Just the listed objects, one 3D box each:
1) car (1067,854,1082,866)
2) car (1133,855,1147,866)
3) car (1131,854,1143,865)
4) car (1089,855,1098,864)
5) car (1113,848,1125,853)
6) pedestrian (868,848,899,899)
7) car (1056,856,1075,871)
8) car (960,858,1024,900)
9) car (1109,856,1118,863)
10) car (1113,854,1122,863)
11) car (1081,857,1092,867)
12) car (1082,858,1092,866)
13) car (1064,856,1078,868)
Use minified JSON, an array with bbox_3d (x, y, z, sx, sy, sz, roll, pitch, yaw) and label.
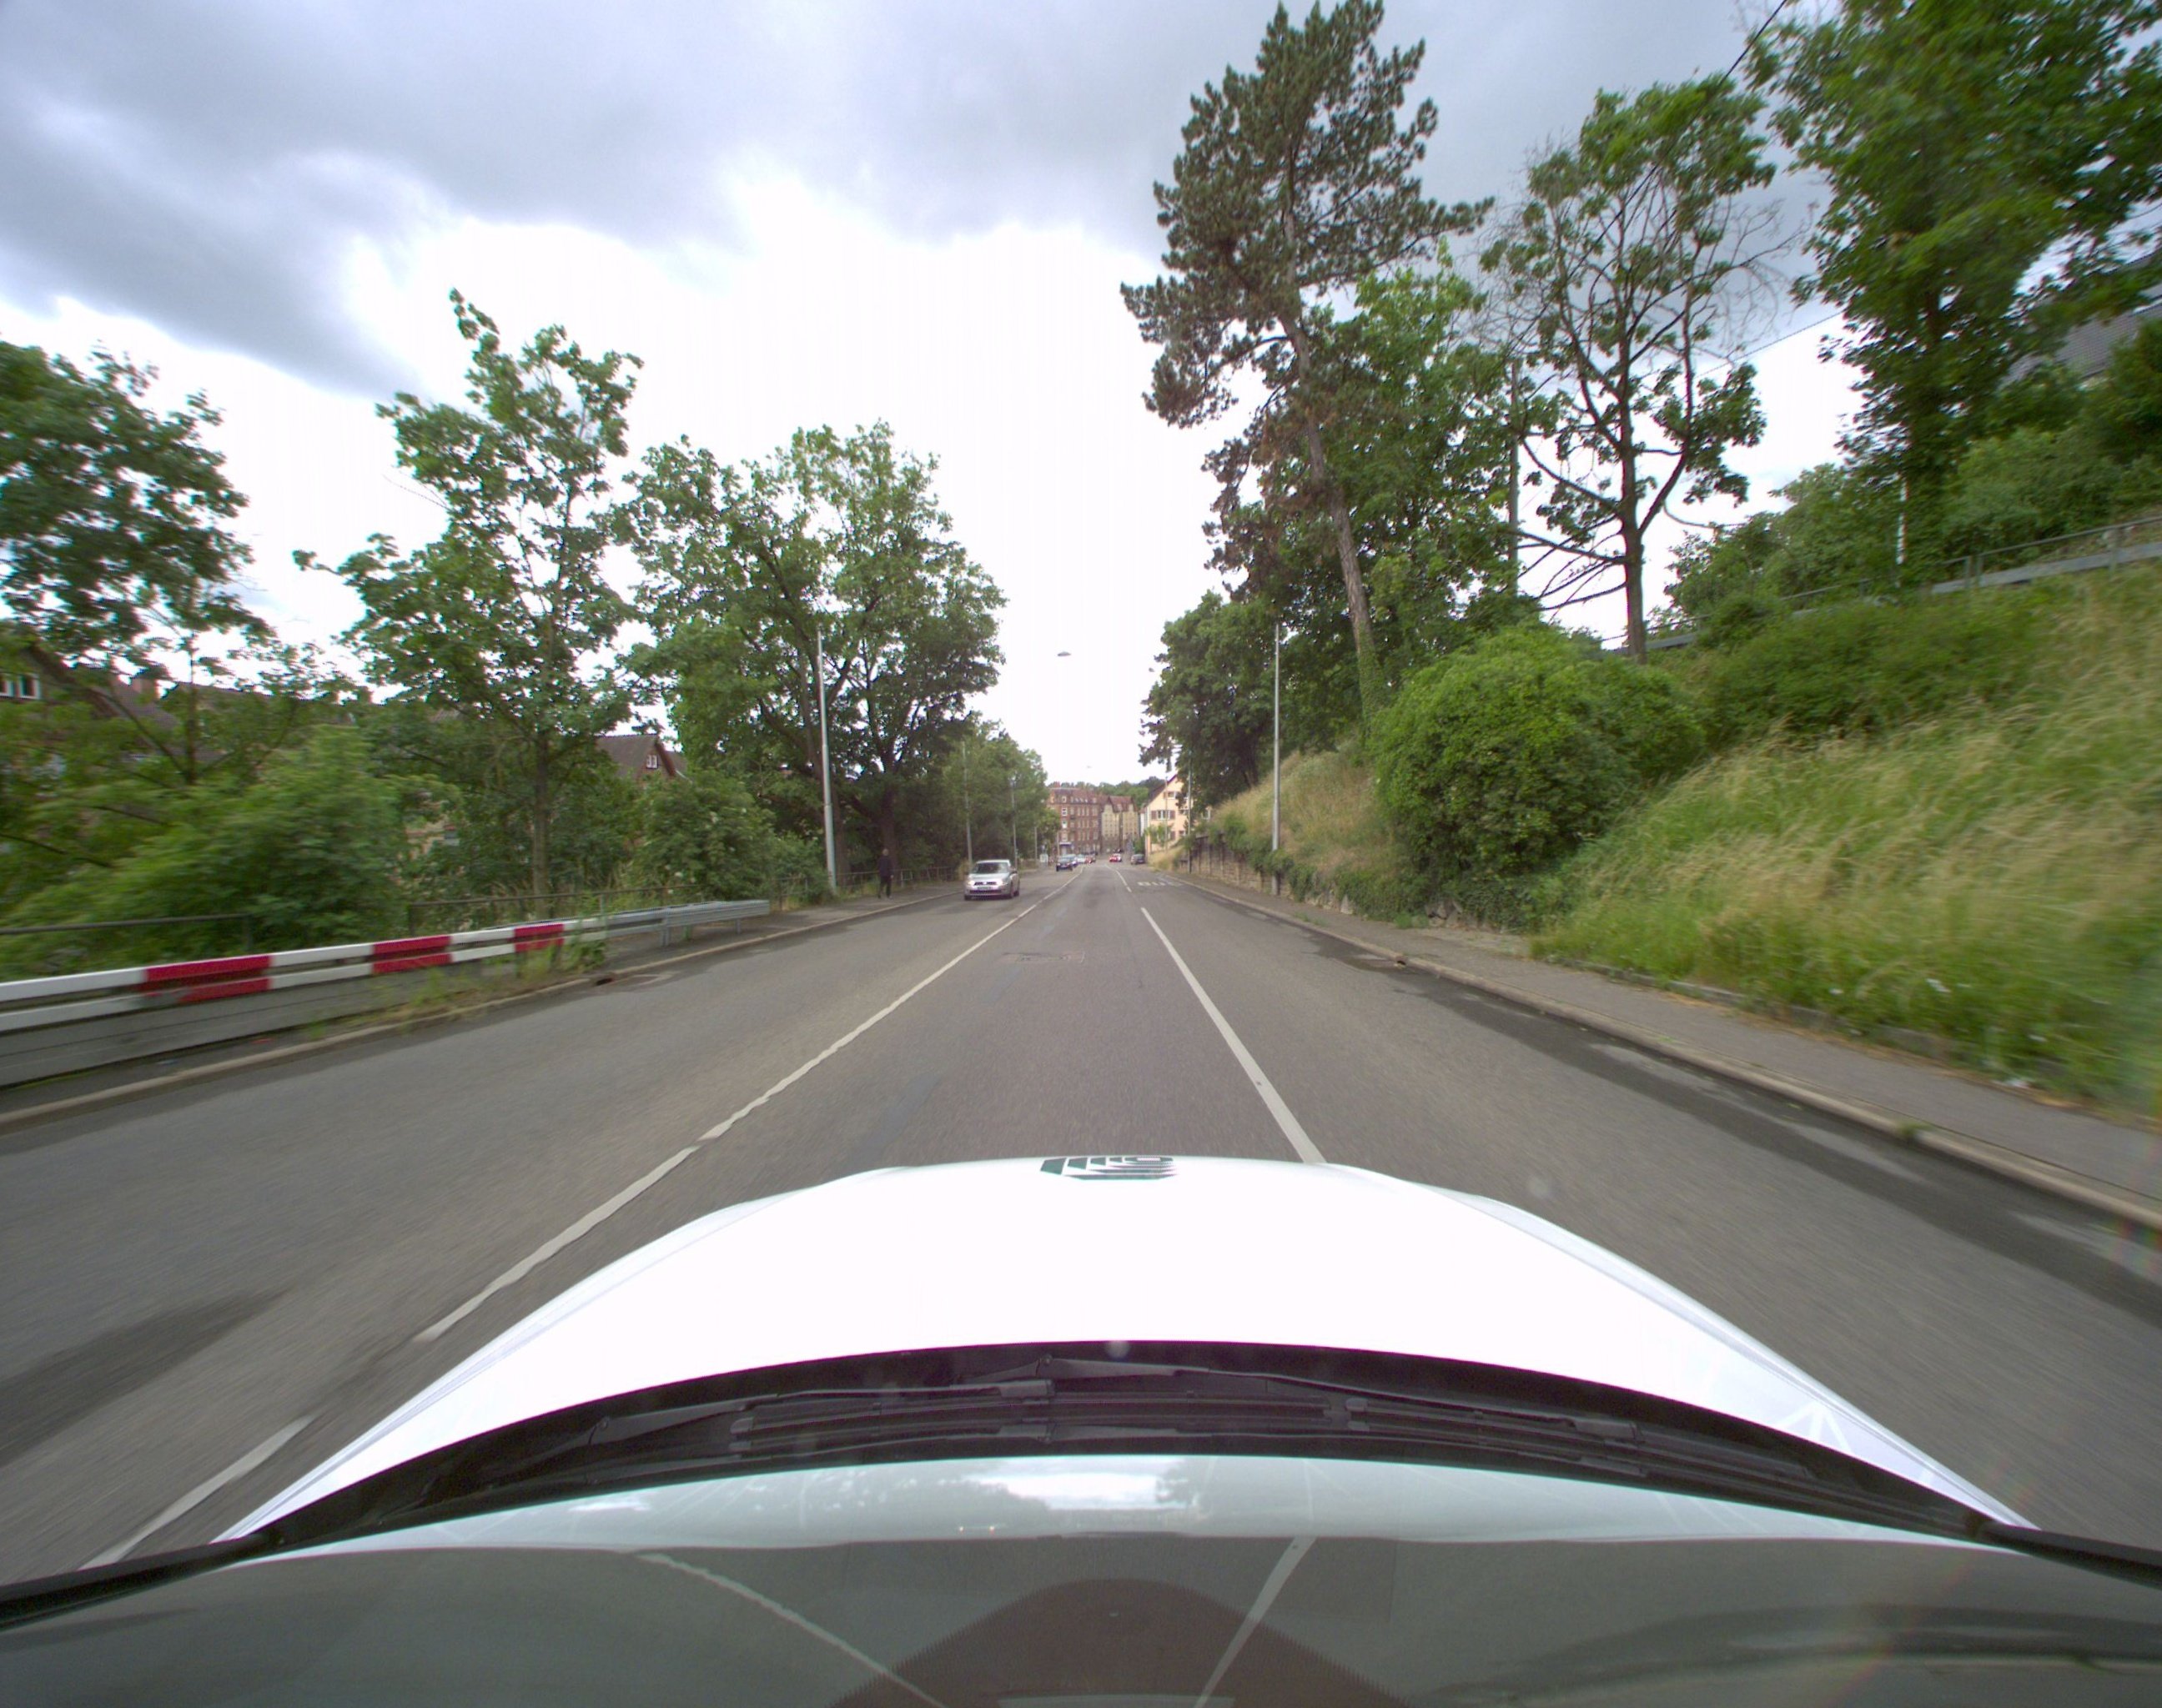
[{"bbox_3d":[-1.001,0.859,122.814,1.988,1.683,4.665,-2,0,2],"label":"car"},{"bbox_3d":[8.705,0.911,120.281,1.675,1.451,4.001,-5,-1,1],"label":"car"},{"bbox_3d":[8.884,0.842,129.147,1.786,1.451,4.724,-4,0,5],"label":"car"},{"bbox_3d":[2.750,1.158,177.620,1.777,1.746,4.430,-2,0,2],"label":"car"},{"bbox_3d":[11.384,-1.096,245.387,1.964,1.575,4.399,-3,-1,23],"label":"car"},{"bbox_3d":[-7.102,0.692,29.389,0.786,1.774,1.208,2,0,-1],"label":"pedestrian"},{"bbox_3d":[-1.557,0.984,83.578,1.662,1.447,3.690,-2,0,2],"label":"car"},{"bbox_3d":[-3.332,0.910,31.209,1.787,1.427,4.145,-2,0,2],"label":"car"},{"bbox_3d":[7.276,1.203,180.755,1.807,1.430,4.007,0,0,6],"label":"car"},{"bbox_3d":[8.458,1.017,187.528,1.900,1.884,4.006,0,-1,6],"label":"car"},{"bbox_3d":[0.917,1.355,141.667,1.777,1.574,4.281,-2,0,1],"label":"car"},{"bbox_3d":[1.139,1.525,159.376,1.777,1.459,4.429,-2,0,1],"label":"car"},{"bbox_3d":[-1.297,1.052,107.669,1.707,1.427,4.139,-2,0,0],"label":"car"}]
